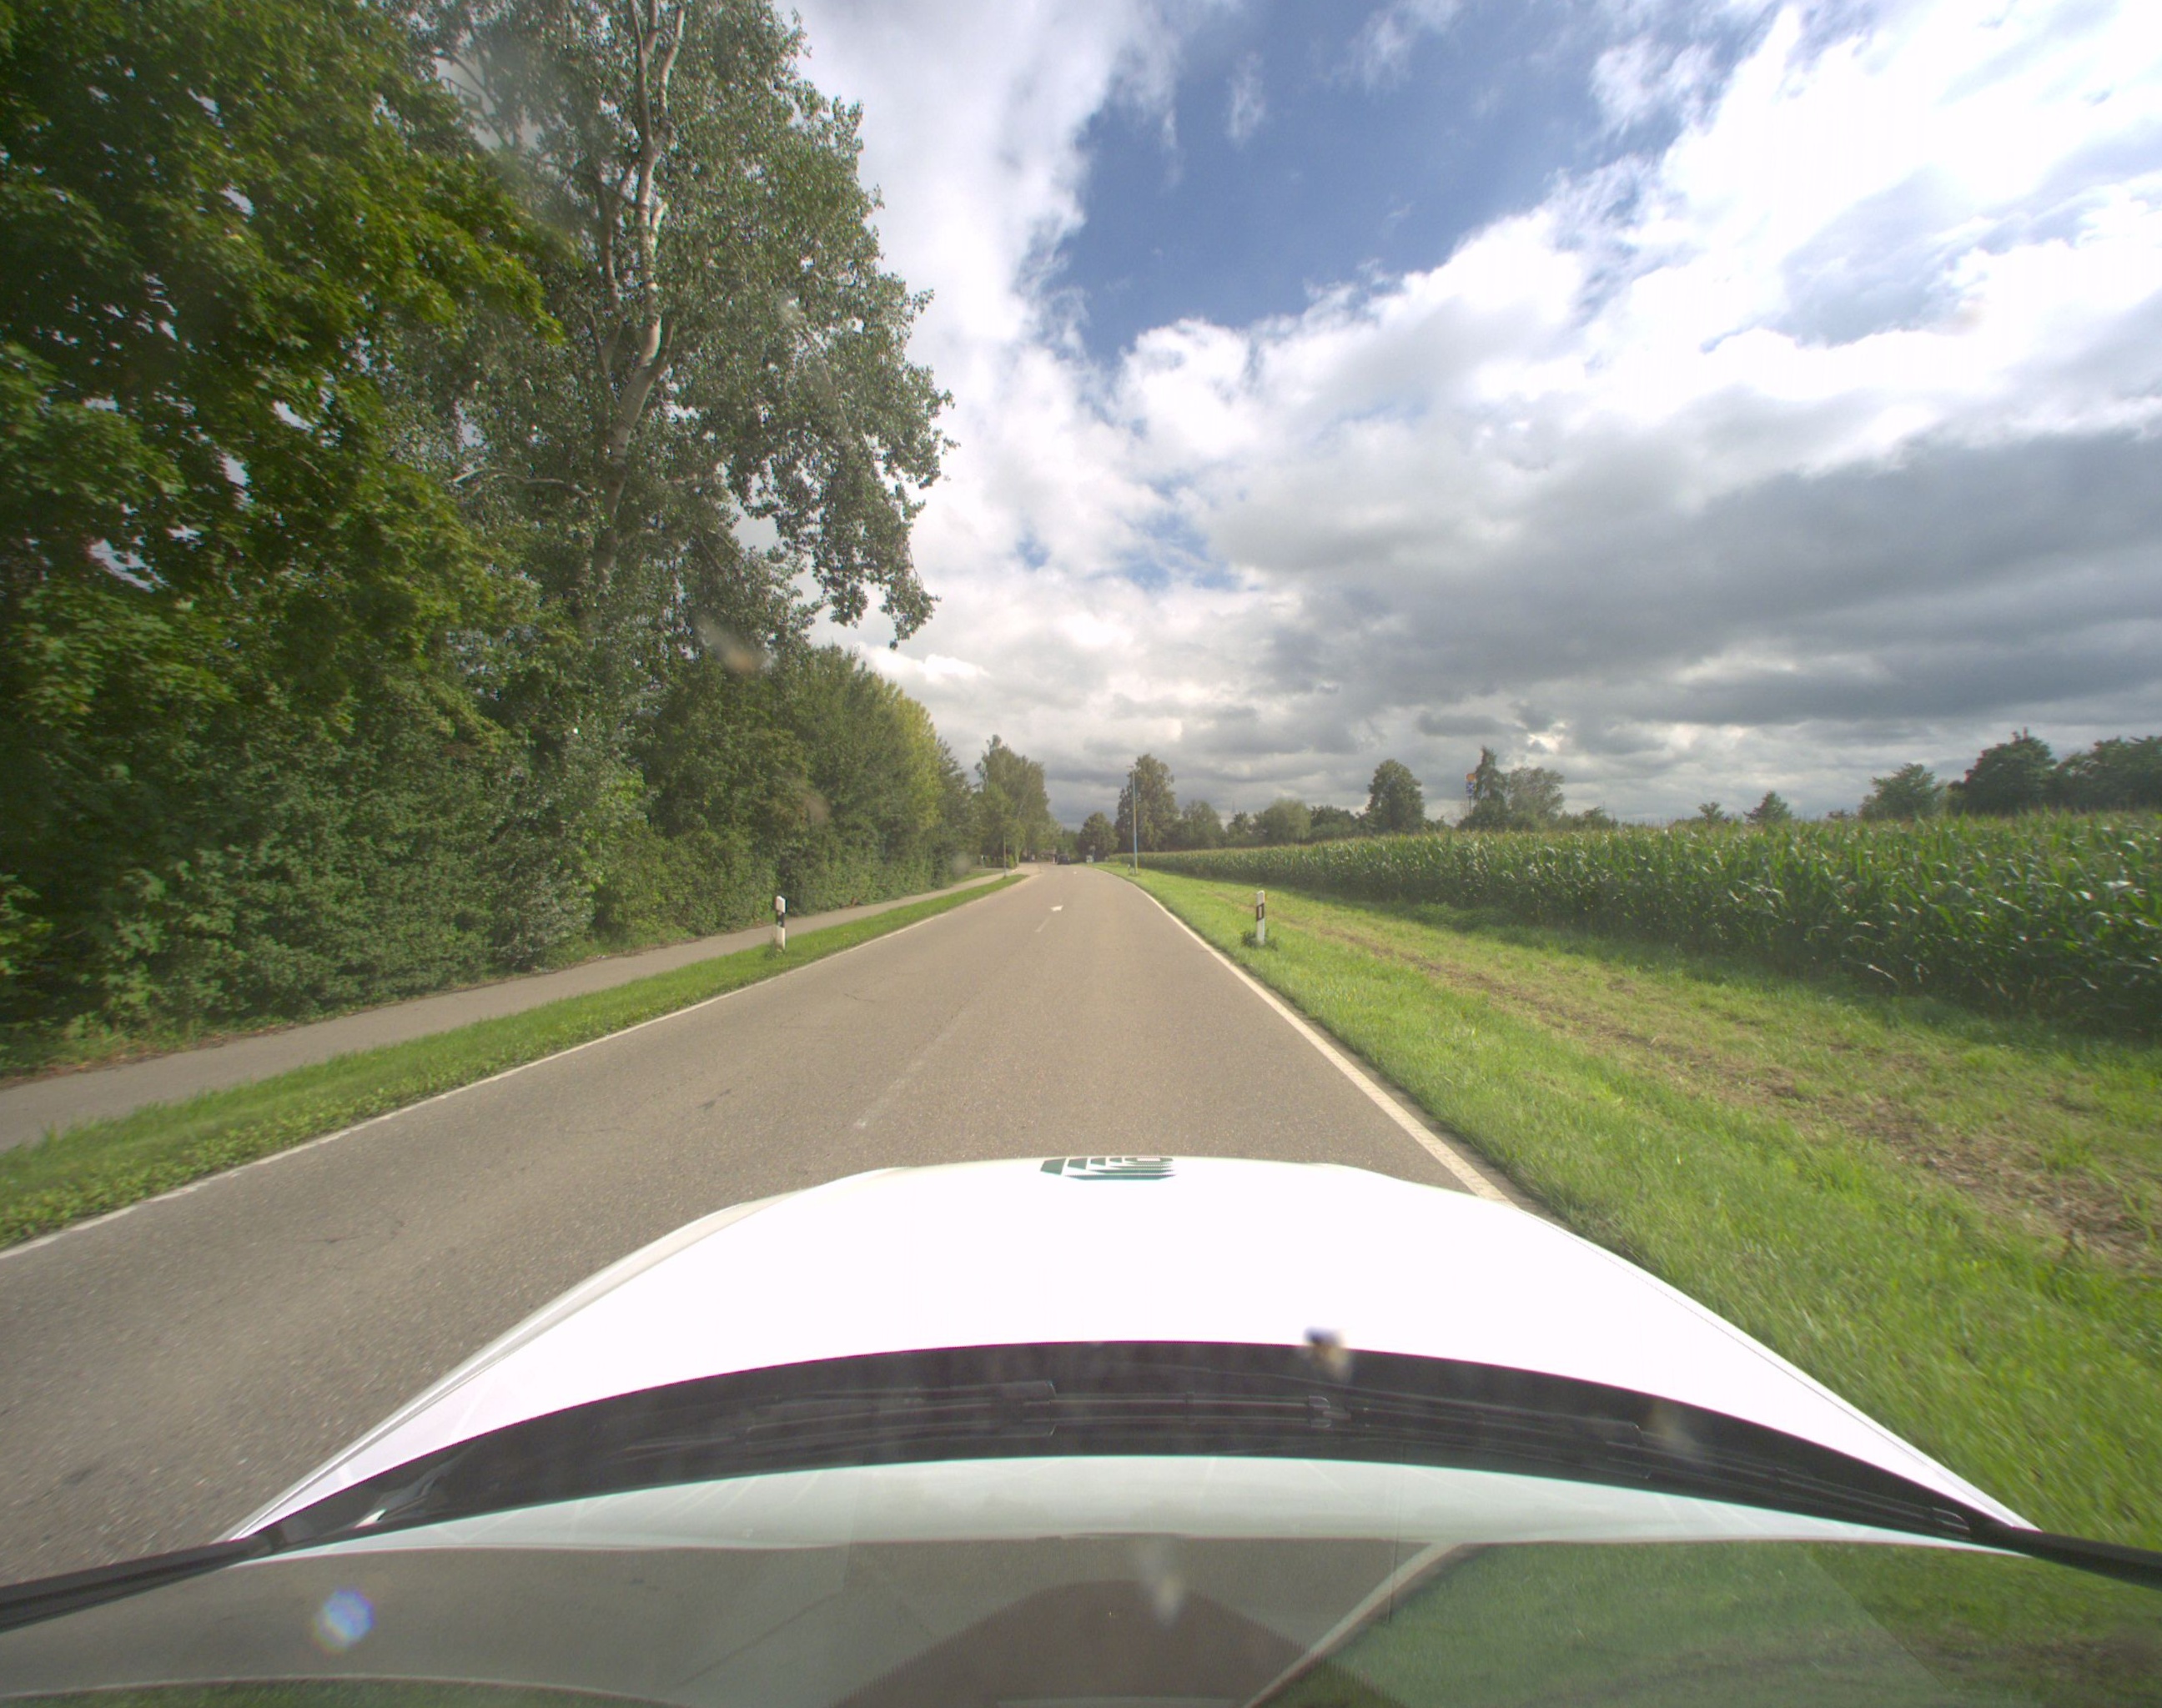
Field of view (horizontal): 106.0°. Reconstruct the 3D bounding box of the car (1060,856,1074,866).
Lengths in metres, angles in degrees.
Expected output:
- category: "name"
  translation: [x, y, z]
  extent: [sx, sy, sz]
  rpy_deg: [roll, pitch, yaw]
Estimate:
- category: "car"
  translation: [-2.232, 1.104, 131.667]
  extent: [1.990, 1.585, 3.993]
  rpy_deg: [1, -1, -5]
